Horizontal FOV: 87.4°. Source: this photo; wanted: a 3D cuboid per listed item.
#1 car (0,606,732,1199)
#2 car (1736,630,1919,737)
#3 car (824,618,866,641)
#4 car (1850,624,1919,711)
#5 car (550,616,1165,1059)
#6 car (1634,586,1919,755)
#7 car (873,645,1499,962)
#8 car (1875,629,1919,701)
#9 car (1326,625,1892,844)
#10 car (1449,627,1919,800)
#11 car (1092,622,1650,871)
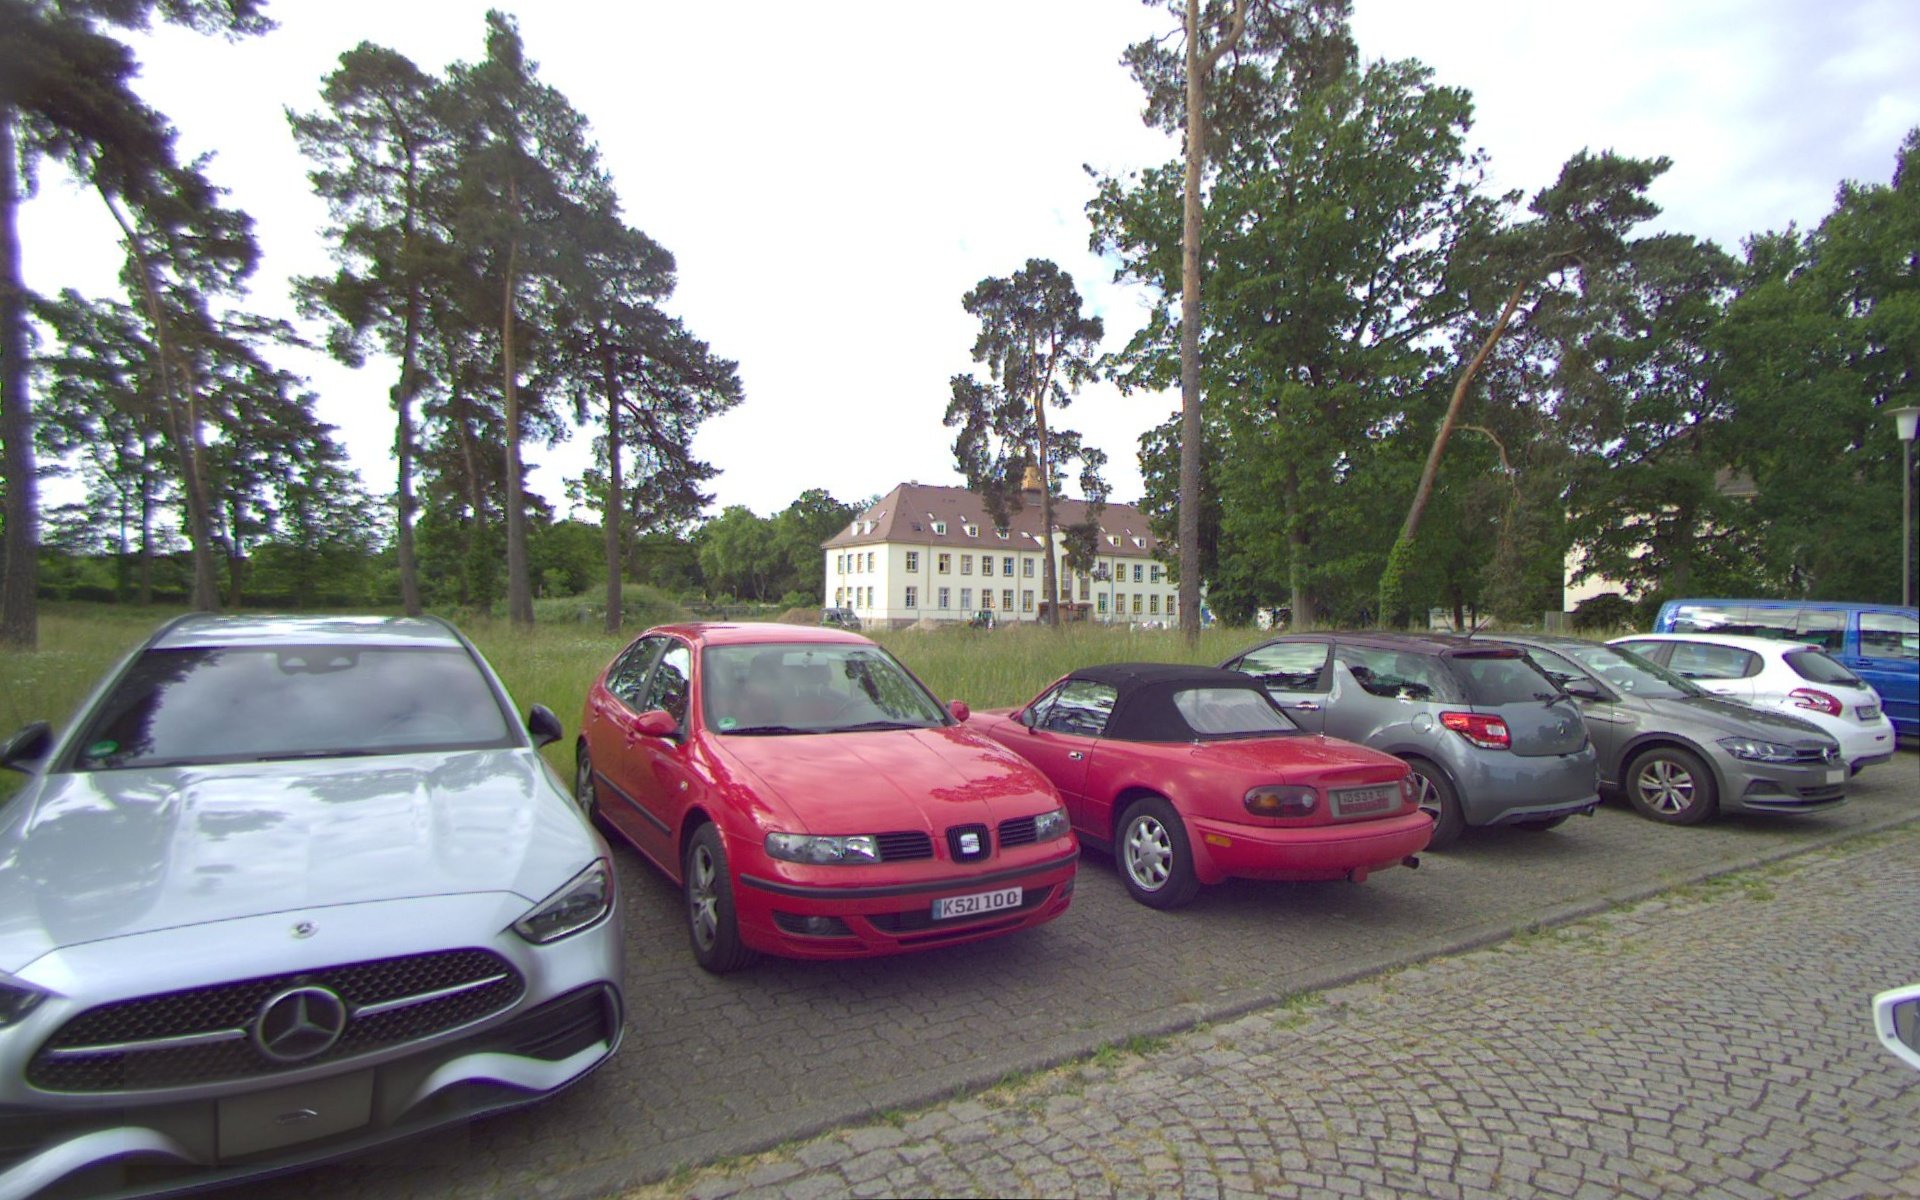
[{"bbox_3d":[-2.656,0.803,4.150,1.916,1.527,4.347,1,-1,-34],"label":"car"},{"bbox_3d":[14.744,1.265,15.444,1.763,1.530,4.140,1,-1,-34],"label":"car"},{"bbox_3d":[-12.037,3.046,104.589,1.983,2.229,4.981,1,-1,-39],"label":"car"},{"bbox_3d":[19.846,1.318,19.027,1.966,1.644,4.140,1,-1,-34],"label":"car"},{"bbox_3d":[-0.966,0.864,5.738,1.844,1.496,4.143,1,-1,-32],"label":"car"},{"bbox_3d":[12.573,0.919,14.095,2.092,2.150,4.755,1,-1,-33],"label":"car"},{"bbox_3d":[1.126,1.025,6.811,1.810,1.283,4.145,1,-1,-31],"label":"car"},{"bbox_3d":[21.944,1.400,20.789,1.887,1.530,4.142,1,-1,-33],"label":"car"},{"bbox_3d":[5.777,1.032,9.516,1.843,1.511,4.146,1,-1,-30],"label":"car"},{"bbox_3d":[8.020,1.113,11.502,1.824,1.517,4.047,1,-1,-31],"label":"car"},{"bbox_3d":[3.140,0.971,8.551,1.824,1.502,4.145,1,-1,-31],"label":"car"}]
